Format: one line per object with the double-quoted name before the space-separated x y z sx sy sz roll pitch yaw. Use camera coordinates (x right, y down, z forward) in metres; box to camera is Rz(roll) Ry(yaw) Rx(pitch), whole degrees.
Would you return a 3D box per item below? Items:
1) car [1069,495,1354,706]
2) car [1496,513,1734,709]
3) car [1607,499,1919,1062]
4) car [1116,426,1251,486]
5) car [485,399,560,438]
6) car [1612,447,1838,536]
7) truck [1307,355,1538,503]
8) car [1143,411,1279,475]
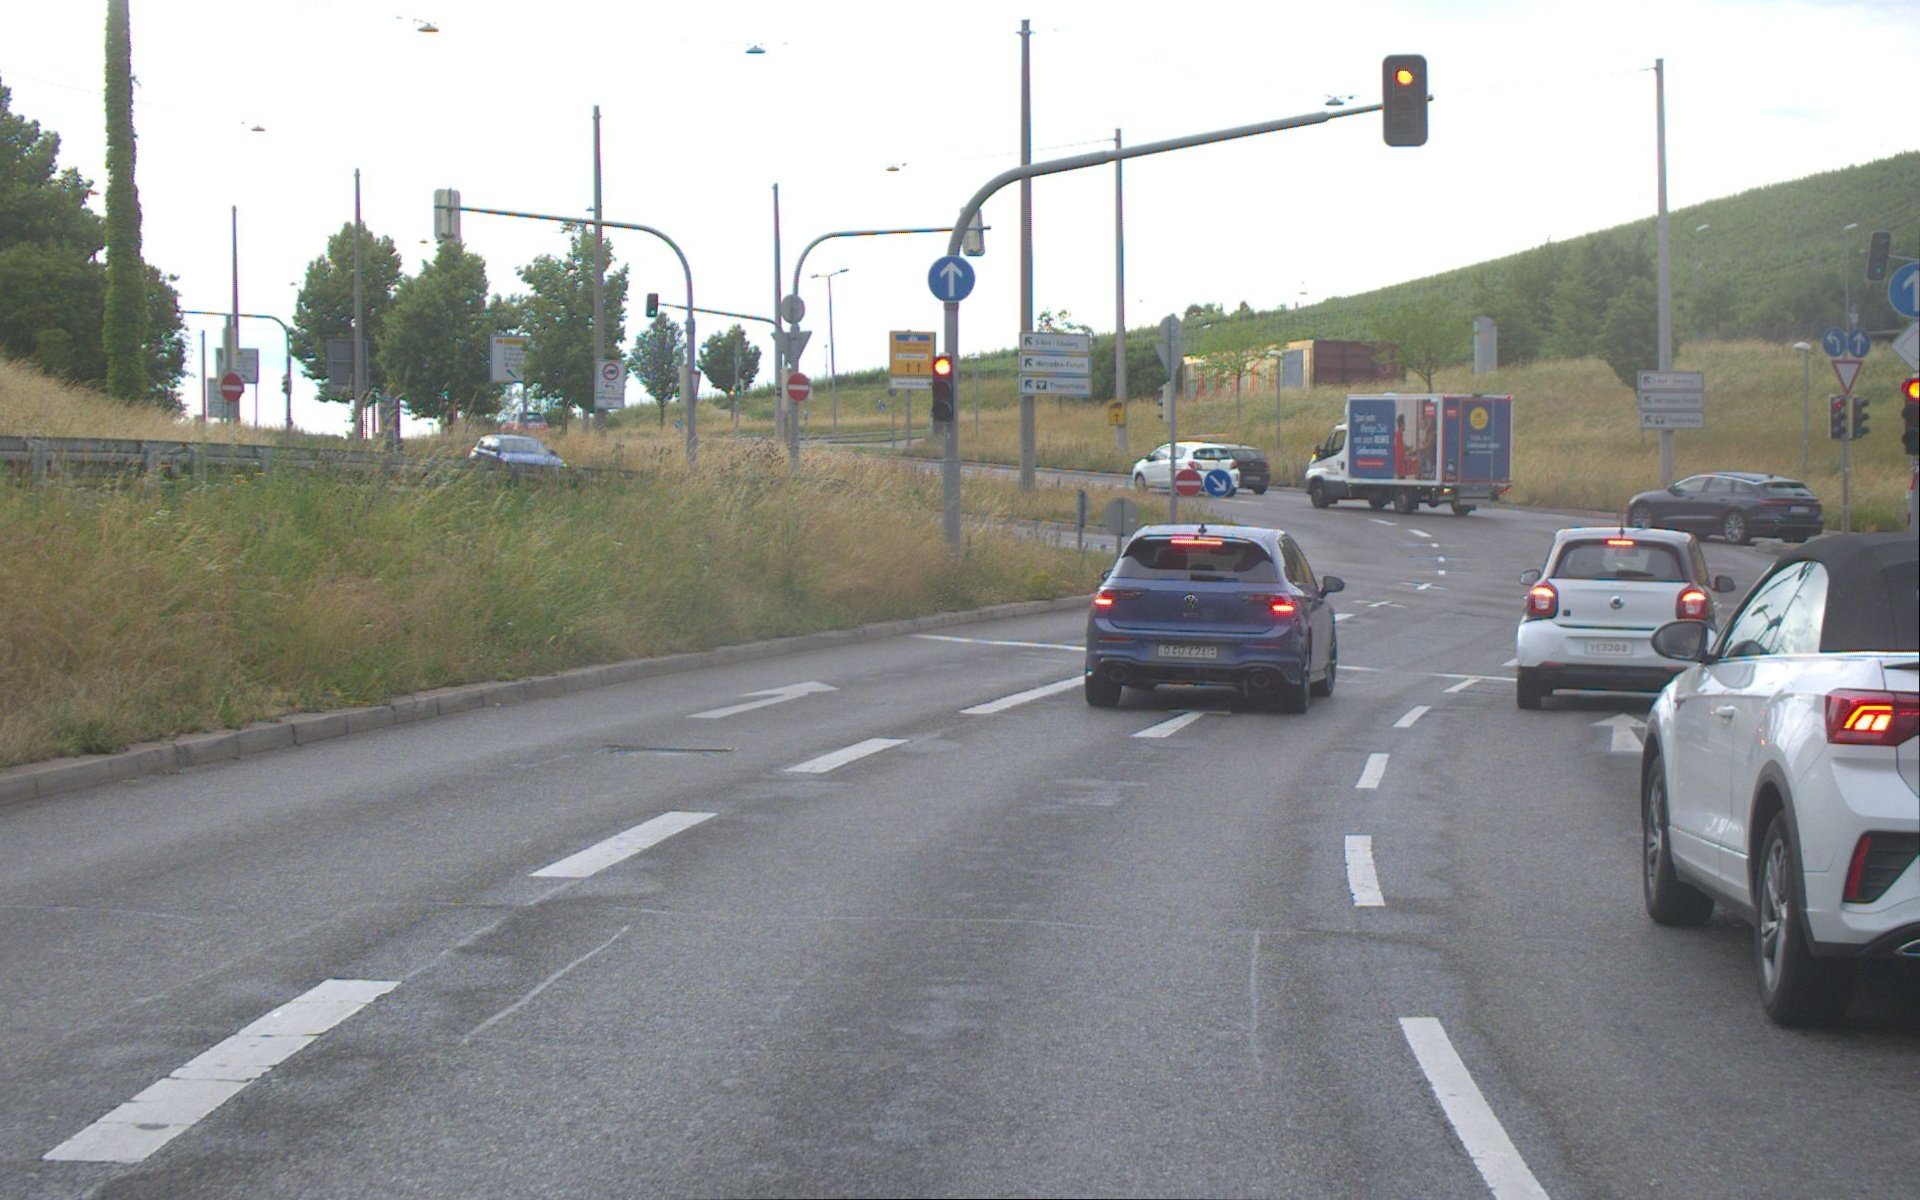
"car" 2.139 -0.028 28.202 1.927 1.594 4.060 0 1 10
"car" 5.716 0.040 29.724 1.776 1.514 3.723 3 2 14
"car" 3.512 0.485 11.677 1.996 1.573 4.125 2 2 3
"car" 6.268 -4.081 97.082 1.993 1.495 4.565 -2 5 -23
"car" -19.963 -8.251 156.592 1.993 1.706 4.564 -2 3 -26
"car" 16.510 -2.375 74.364 1.994 1.705 4.563 -3 6 -36
"truck" 11.492 -4.351 86.037 2.848 3.514 6.237 -2 5 -24
"car" 7.399 -4.665 101.697 1.993 1.705 4.565 -2 5 -26
